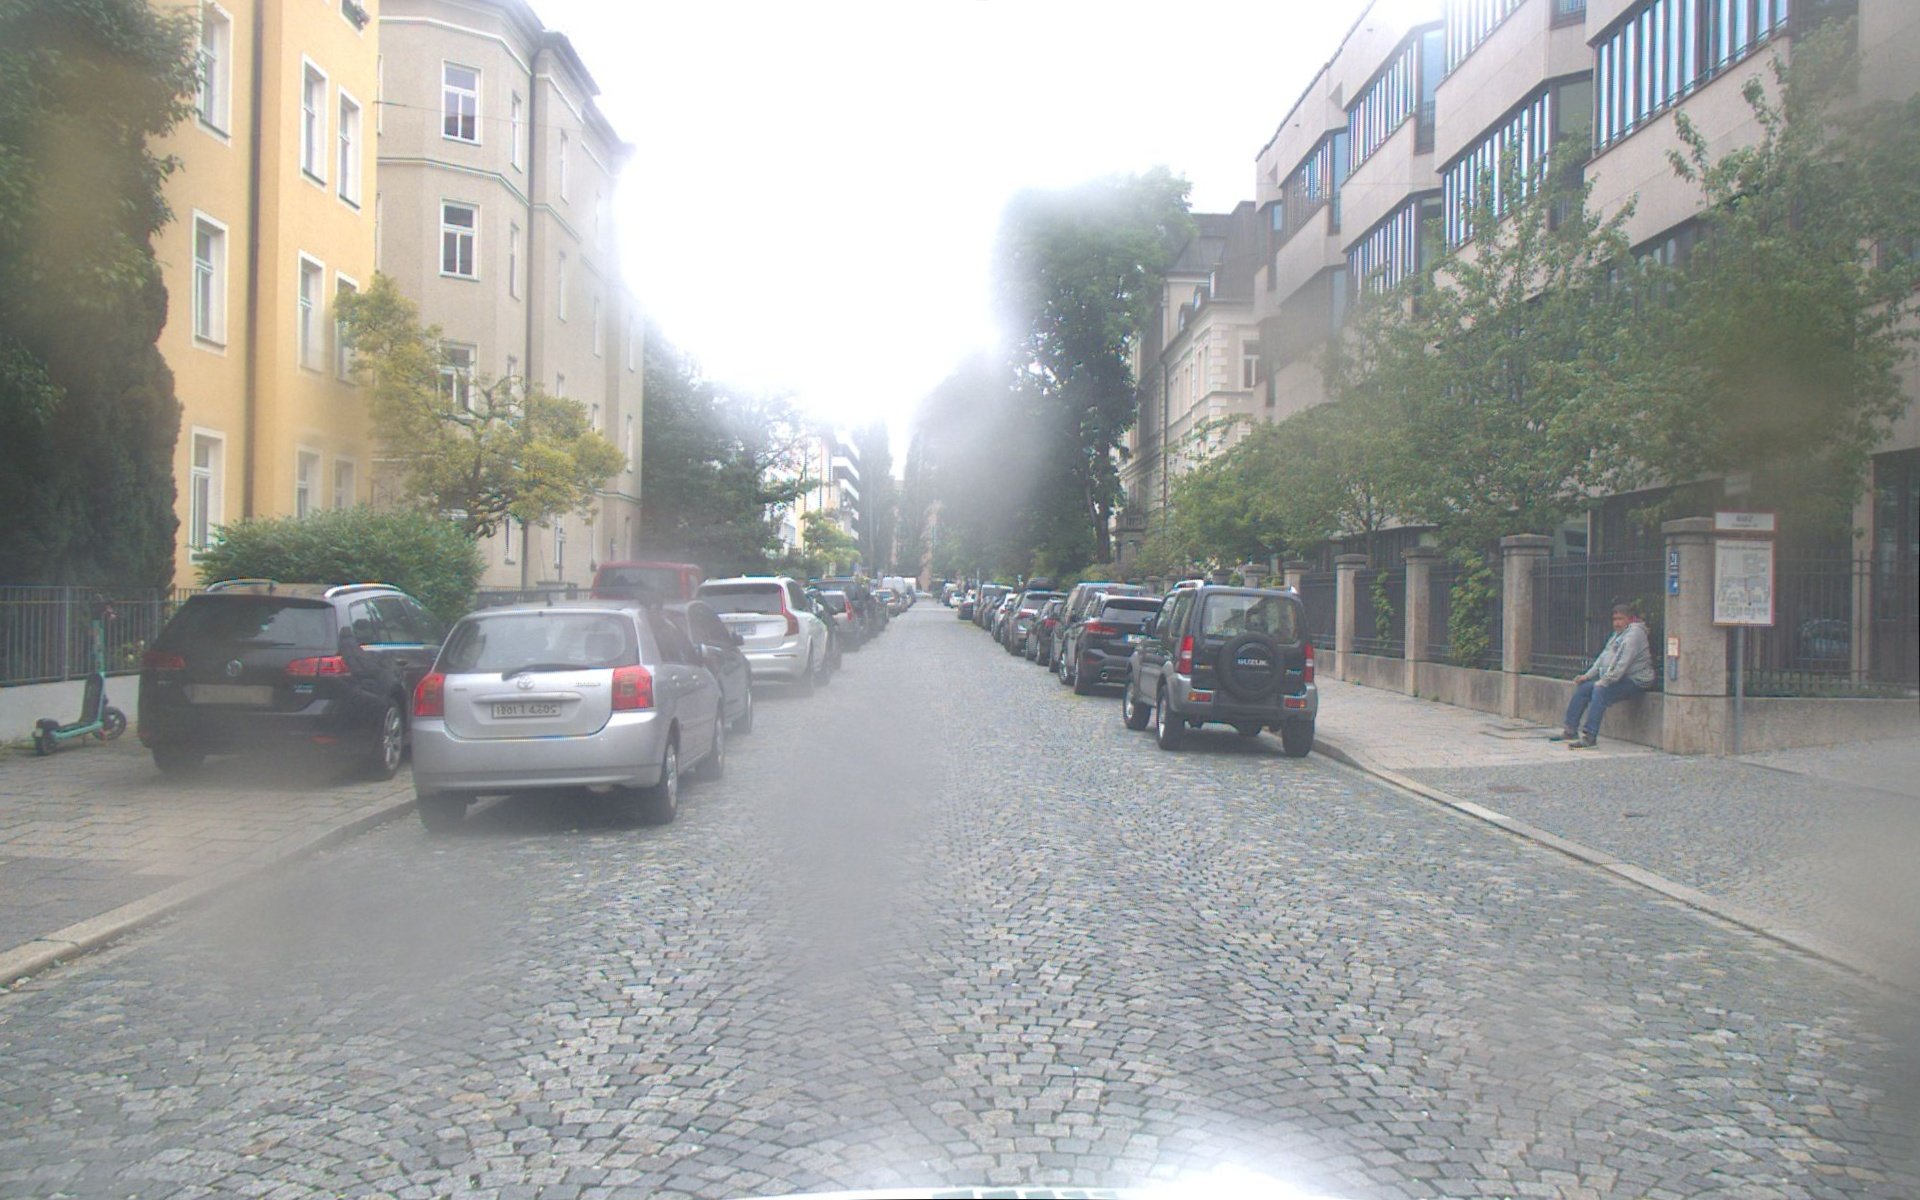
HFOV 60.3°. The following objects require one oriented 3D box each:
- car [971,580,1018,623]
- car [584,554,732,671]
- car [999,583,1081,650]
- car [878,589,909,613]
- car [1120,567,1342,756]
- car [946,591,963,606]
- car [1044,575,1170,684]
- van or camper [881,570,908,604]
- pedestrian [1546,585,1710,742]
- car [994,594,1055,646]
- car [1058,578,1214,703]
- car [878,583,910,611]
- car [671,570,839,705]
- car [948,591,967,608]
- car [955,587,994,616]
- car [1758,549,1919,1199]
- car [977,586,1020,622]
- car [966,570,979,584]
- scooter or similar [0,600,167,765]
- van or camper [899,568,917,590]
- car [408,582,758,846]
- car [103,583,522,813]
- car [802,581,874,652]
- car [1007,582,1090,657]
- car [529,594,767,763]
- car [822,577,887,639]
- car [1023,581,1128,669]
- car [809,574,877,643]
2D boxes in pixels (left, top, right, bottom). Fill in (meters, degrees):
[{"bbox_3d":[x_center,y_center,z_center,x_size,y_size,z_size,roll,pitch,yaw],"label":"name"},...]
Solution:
[{"bbox_3d":[1.662,0.038,81.729,1.836,1.962,5.161,3,0,-3],"label":"car"},{"bbox_3d":[-5.581,0.205,31.265,1.954,1.964,5.328,2,0,-2],"label":"car"},{"bbox_3d":[2.315,0.438,49.020,1.836,1.765,4.744,4,0,-3],"label":"car"},{"bbox_3d":[-4.798,0.066,119.357,1.834,1.607,4.209,3,0,2],"label":"car"},{"bbox_3d":[2.867,0.595,18.264,1.586,1.781,3.885,3,0,-2],"label":"car"},{"bbox_3d":[-0.607,-0.205,176.033,1.753,1.547,4.000,1,0,-1],"label":"car"},{"bbox_3d":[2.773,0.523,32.185,1.753,1.827,4.507,4,0,-3],"label":"car"},{"bbox_3d":[-5.315,-1.045,134.314,1.953,2.698,4.000,-2,0,-1],"label":"van or camper"},{"bbox_3d":[6.798,0.623,16.897,1.192,1.519,1.129,-2,0,1],"label":"pedestrian"},{"bbox_3d":[2.067,0.622,54.149,1.835,1.516,4.617,3,1,1],"label":"car"},{"bbox_3d":[2.737,0.588,26.742,1.823,1.731,4.812,3,0,-1],"label":"car"},{"bbox_3d":[-4.077,-0.185,101.420,1.836,1.607,4.253,-2,0,-3],"label":"car"},{"bbox_3d":[-3.061,0.514,25.768,1.965,1.840,5.174,-1,0,0],"label":"car"},{"bbox_3d":[-0.229,-0.076,155.325,1.753,1.547,4.000,1,0,-1],"label":"car"},{"bbox_3d":[0.778,0.057,93.691,1.836,1.529,4.508,3,0,-3],"label":"car"},{"bbox_3d":[3.269,0.728,2.098,1.953,1.579,5.013,3,0,-1],"label":"car"},{"bbox_3d":[1.736,0.182,76.037,1.800,1.516,4.421,3,0,0],"label":"car"},{"bbox_3d":[1.948,-3.629,258.544,1.953,2.049,3.999,1,0,-1],"label":"car"},{"bbox_3d":[-7.371,0.643,13.581,0.937,1.221,1.522,3,0,-1],"label":"scooter or similar"},{"bbox_3d":[-6.872,-2.751,218.854,2.210,2.790,5.097,1,0,-1],"label":"van or camper"},{"bbox_3d":[-2.594,0.689,12.409,1.679,1.589,4.389,-1,0,-1],"label":"car"},{"bbox_3d":[-5.131,0.672,13.871,1.680,1.523,4.720,3,0,-1],"label":"car"},{"bbox_3d":[-3.311,0.413,45.307,1.828,1.765,4.400,-2,1,-4],"label":"car"},{"bbox_3d":[2.247,0.482,43.145,1.835,1.765,4.891,3,0,0],"label":"car"},{"bbox_3d":[-3.008,0.687,16.693,1.695,1.443,3.935,-2,0,-1],"label":"car"},{"bbox_3d":[-3.571,0.243,56.779,1.953,1.950,5.175,-3,0,-2],"label":"car"},{"bbox_3d":[2.591,0.527,38.141,1.836,1.765,4.657,4,0,-2],"label":"car"},{"bbox_3d":[-3.516,0.237,50.324,1.835,1.950,4.825,-2,0,-2],"label":"car"}]
